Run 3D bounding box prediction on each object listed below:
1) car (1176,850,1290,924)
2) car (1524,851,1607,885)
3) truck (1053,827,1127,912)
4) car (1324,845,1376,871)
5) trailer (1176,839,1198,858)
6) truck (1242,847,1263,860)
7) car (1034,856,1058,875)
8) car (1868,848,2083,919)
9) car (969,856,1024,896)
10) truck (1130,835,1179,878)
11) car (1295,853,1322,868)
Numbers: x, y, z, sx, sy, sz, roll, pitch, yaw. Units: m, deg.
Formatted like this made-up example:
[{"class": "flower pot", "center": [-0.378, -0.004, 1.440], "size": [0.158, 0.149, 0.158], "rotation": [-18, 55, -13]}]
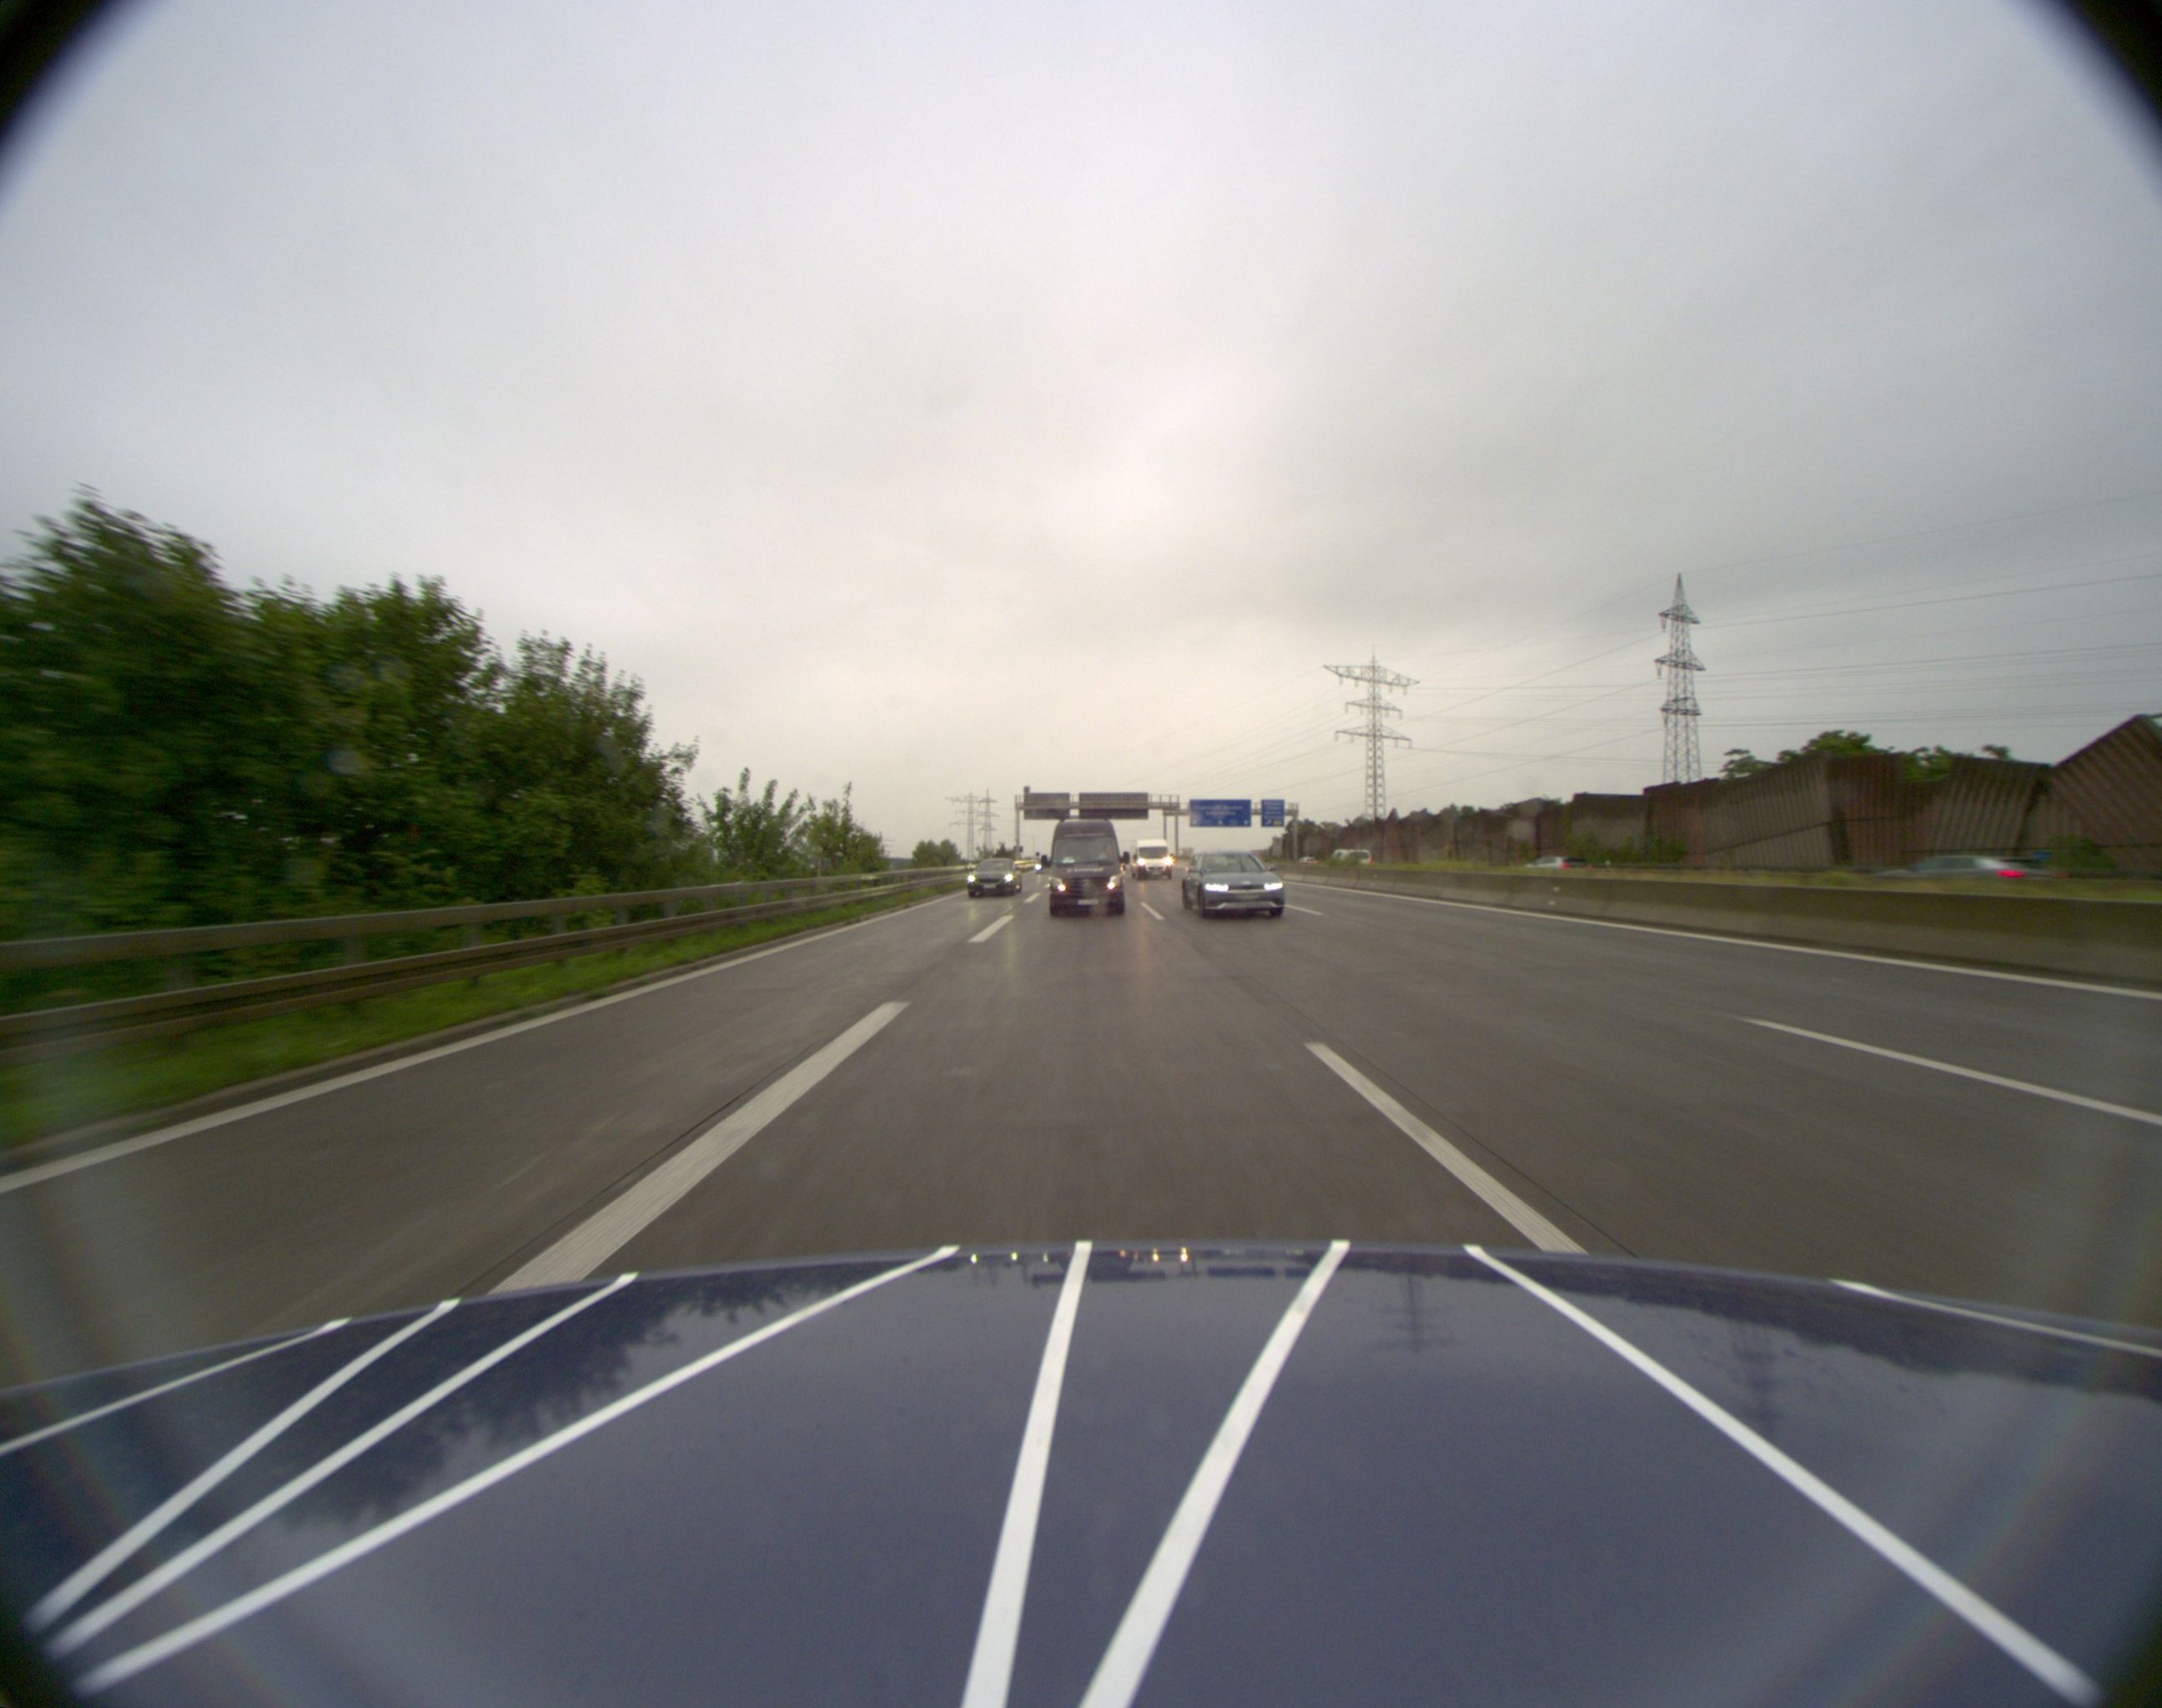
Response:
[{"class": "car", "center": [3.701, 0.719, 19.458], "size": [1.843, 1.585, 5.155], "rotation": [-2, 0, 0]}, {"class": "car", "center": [27.534, 0.762, 43.369], "size": [1.999, 1.774, 4.290], "rotation": [-2, 0, 0]}, {"class": "truck", "center": [0.171, 0.420, 24.099], "size": [1.999, 2.324, 6.109], "rotation": [-1, 0, -2]}, {"class": "car", "center": [20.219, 0.266, 57.346], "size": [1.999, 1.774, 5.209], "rotation": [-2, 0, 0]}, {"class": "trailer", "center": [25.001, -1.205, 179.758], "size": [3.064, 4.162, 13.569], "rotation": [-2, 0, 0]}, {"class": "truck", "center": [24.272, -0.073, 107.666], "size": [1.998, 1.729, 5.016], "rotation": [-1, 0, 1]}, {"class": "car", "center": [-3.099, 1.011, 68.406], "size": [1.998, 1.706, 4.000], "rotation": [1, 0, 0]}, {"class": "car", "center": [27.521, 0.832, 23.621], "size": [1.998, 2.002, 4.000], "rotation": [-1, 0, 1]}, {"class": "car", "center": [-3.515, 0.905, 32.258], "size": [1.862, 1.531, 4.203], "rotation": [-2, -1, -1]}, {"class": "truck", "center": [4.537, 0.146, 48.047], "size": [2.243, 2.464, 6.582], "rotation": [-2, 0, -1]}, {"class": "car", "center": [28.010, 0.820, 93.728], "size": [1.998, 1.729, 4.397], "rotation": [-1, 0, 1]}]
